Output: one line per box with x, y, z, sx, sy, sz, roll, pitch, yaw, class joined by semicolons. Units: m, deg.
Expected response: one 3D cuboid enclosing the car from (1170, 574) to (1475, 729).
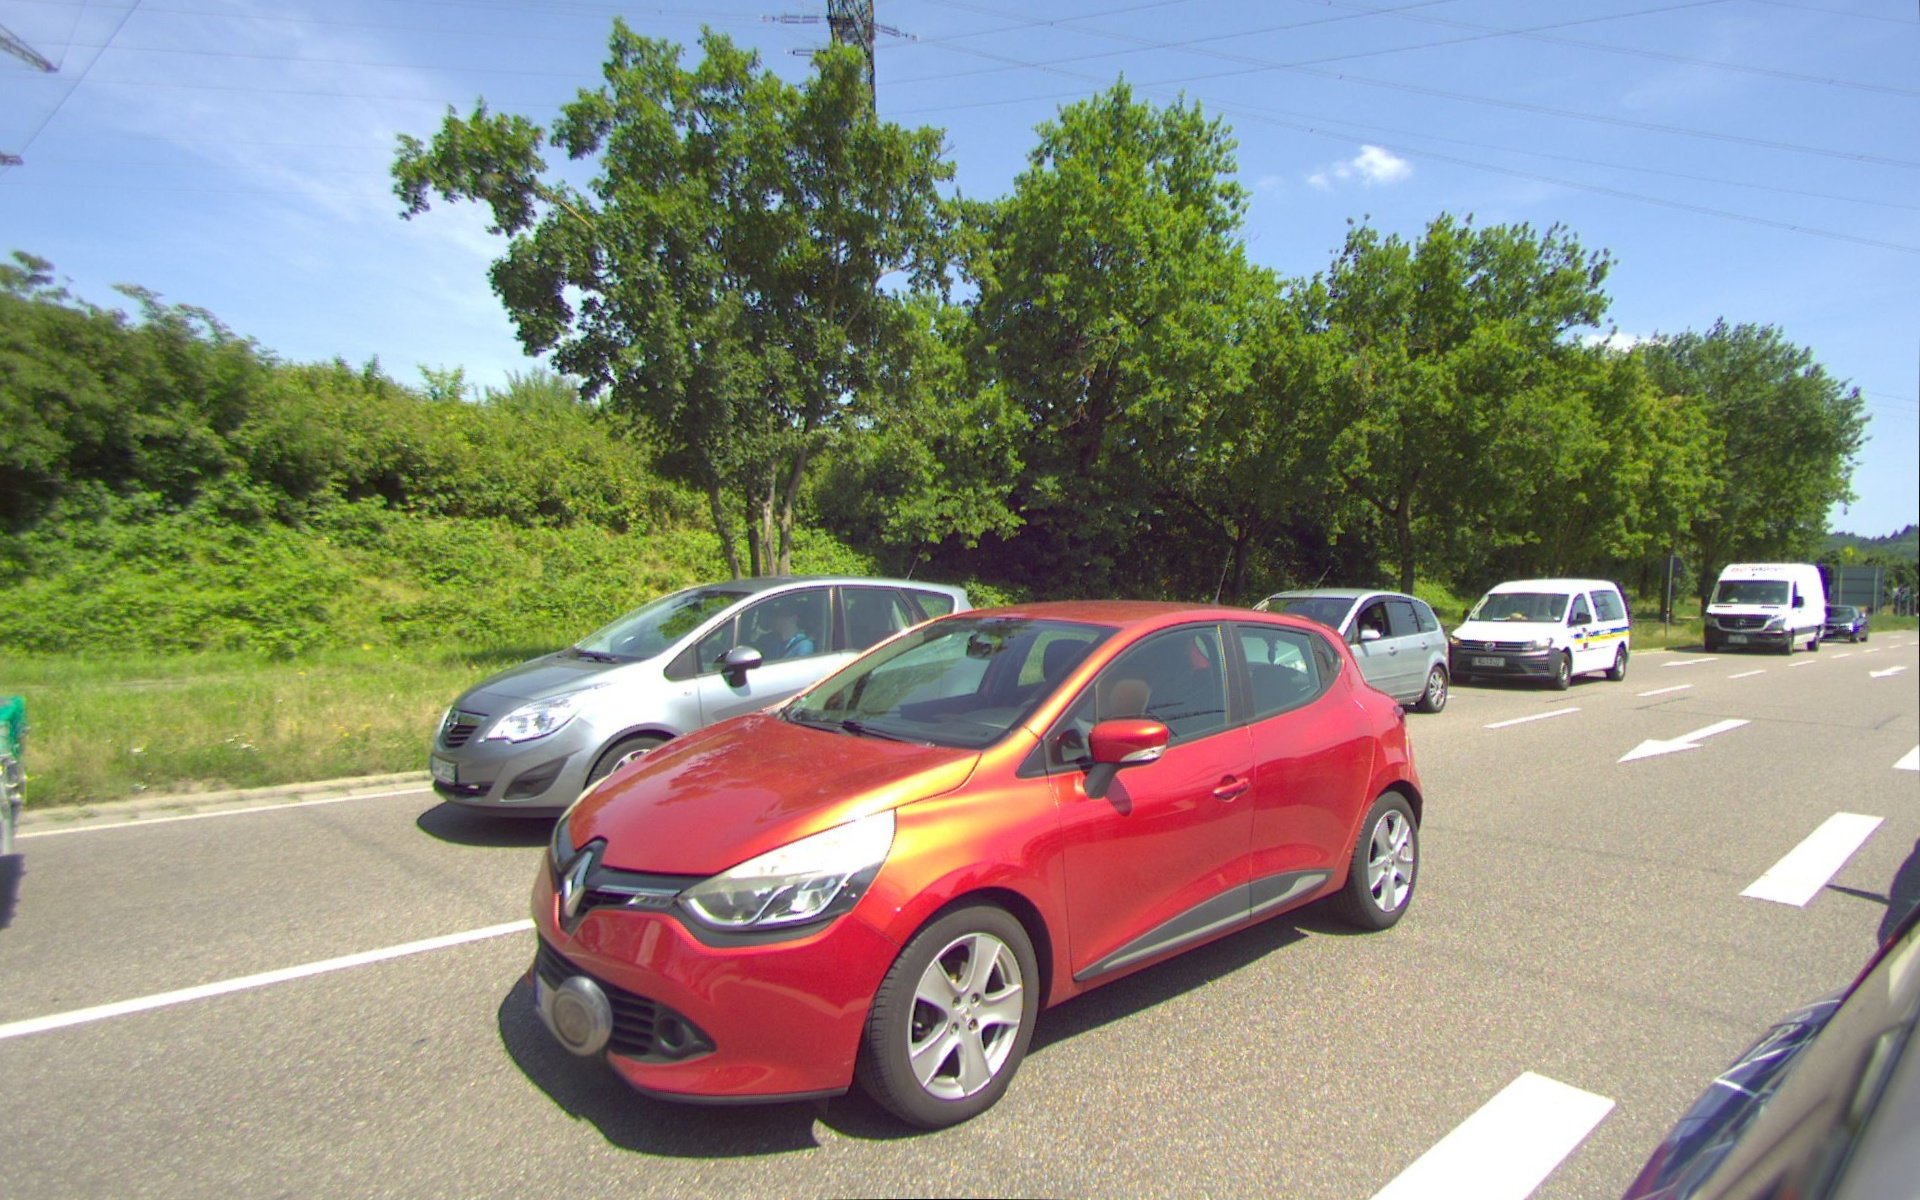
4.613;0.529;12.570;4.197;1.614;1.746;0;0;-41;car

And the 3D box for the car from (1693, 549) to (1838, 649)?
23.946;-0.030;29.954;6.897;2.640;2.230;0;0;-42;car

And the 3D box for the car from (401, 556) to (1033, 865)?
-1.551;0.559;7.316;4.092;1.615;1.768;0;1;-41;car

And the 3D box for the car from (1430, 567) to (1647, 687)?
10.163;0.402;17.606;4.950;1.823;1.807;0;0;-42;car

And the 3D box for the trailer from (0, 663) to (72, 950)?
-5.408;0.853;3.662;3.266;1.019;1.709;0;0;-41;trailer

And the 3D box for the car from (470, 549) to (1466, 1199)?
0.358;0.624;4.189;3.994;1.480;1.746;0;0;-41;car

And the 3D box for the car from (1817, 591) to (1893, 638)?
34.952;0.522;39.487;3.933;1.705;1.875;-1;1;-43;car
